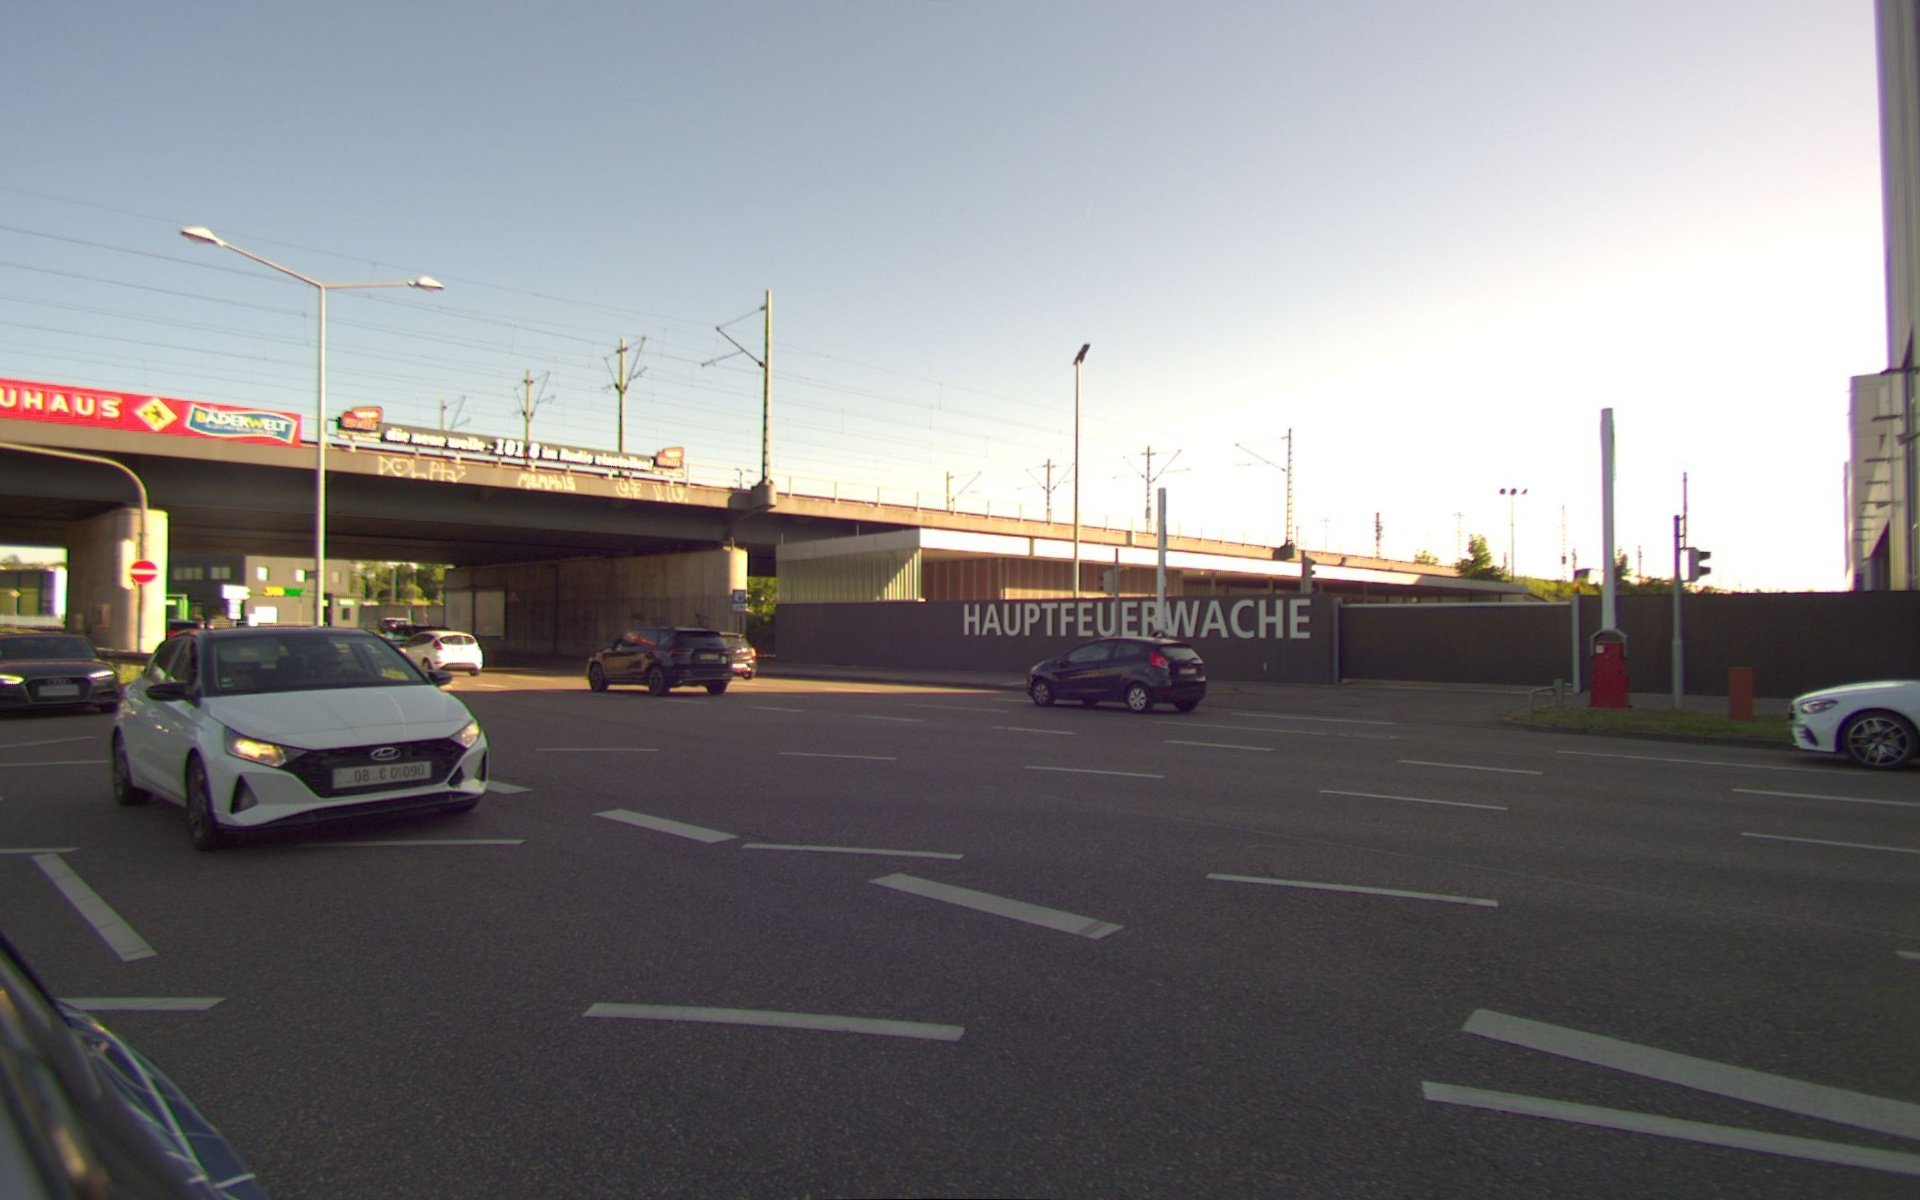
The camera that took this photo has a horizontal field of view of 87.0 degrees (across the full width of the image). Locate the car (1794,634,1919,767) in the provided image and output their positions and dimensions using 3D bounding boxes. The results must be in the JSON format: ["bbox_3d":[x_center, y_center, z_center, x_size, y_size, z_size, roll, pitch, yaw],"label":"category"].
[{"bbox_3d":[12.115,1.107,10.811,4.879,1.452,1.684,-2,-4,41],"label":"car"}]

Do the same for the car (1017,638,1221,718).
[{"bbox_3d":[3.072,1.474,20.138,1.472,1.422,3.941,3,-3,-44],"label":"car"}]

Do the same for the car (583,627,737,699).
[{"bbox_3d":[-7.102,1.447,23.780,3.999,1.552,1.610,-2,-5,42],"label":"car"}]

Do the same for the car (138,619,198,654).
[{"bbox_3d":[-40.891,1.843,52.222,4.000,1.709,1.791,-1,-1,43],"label":"car"}]

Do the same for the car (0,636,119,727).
[{"bbox_3d":[-16.319,1.346,17.792,4.363,1.415,1.680,-2,-2,41],"label":"car"}]

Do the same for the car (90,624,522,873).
[{"bbox_3d":[-5.219,0.926,7.863,4.072,1.419,1.760,-2,-2,41],"label":"car"}]

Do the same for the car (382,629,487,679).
[{"bbox_3d":[-17.421,1.790,33.491,3.998,1.552,1.704,-2,-5,41],"label":"car"}]

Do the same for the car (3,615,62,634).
[{"bbox_3d":[-83.850,2.196,91.518,3.843,1.667,1.724,0,-1,-44],"label":"car"}]
